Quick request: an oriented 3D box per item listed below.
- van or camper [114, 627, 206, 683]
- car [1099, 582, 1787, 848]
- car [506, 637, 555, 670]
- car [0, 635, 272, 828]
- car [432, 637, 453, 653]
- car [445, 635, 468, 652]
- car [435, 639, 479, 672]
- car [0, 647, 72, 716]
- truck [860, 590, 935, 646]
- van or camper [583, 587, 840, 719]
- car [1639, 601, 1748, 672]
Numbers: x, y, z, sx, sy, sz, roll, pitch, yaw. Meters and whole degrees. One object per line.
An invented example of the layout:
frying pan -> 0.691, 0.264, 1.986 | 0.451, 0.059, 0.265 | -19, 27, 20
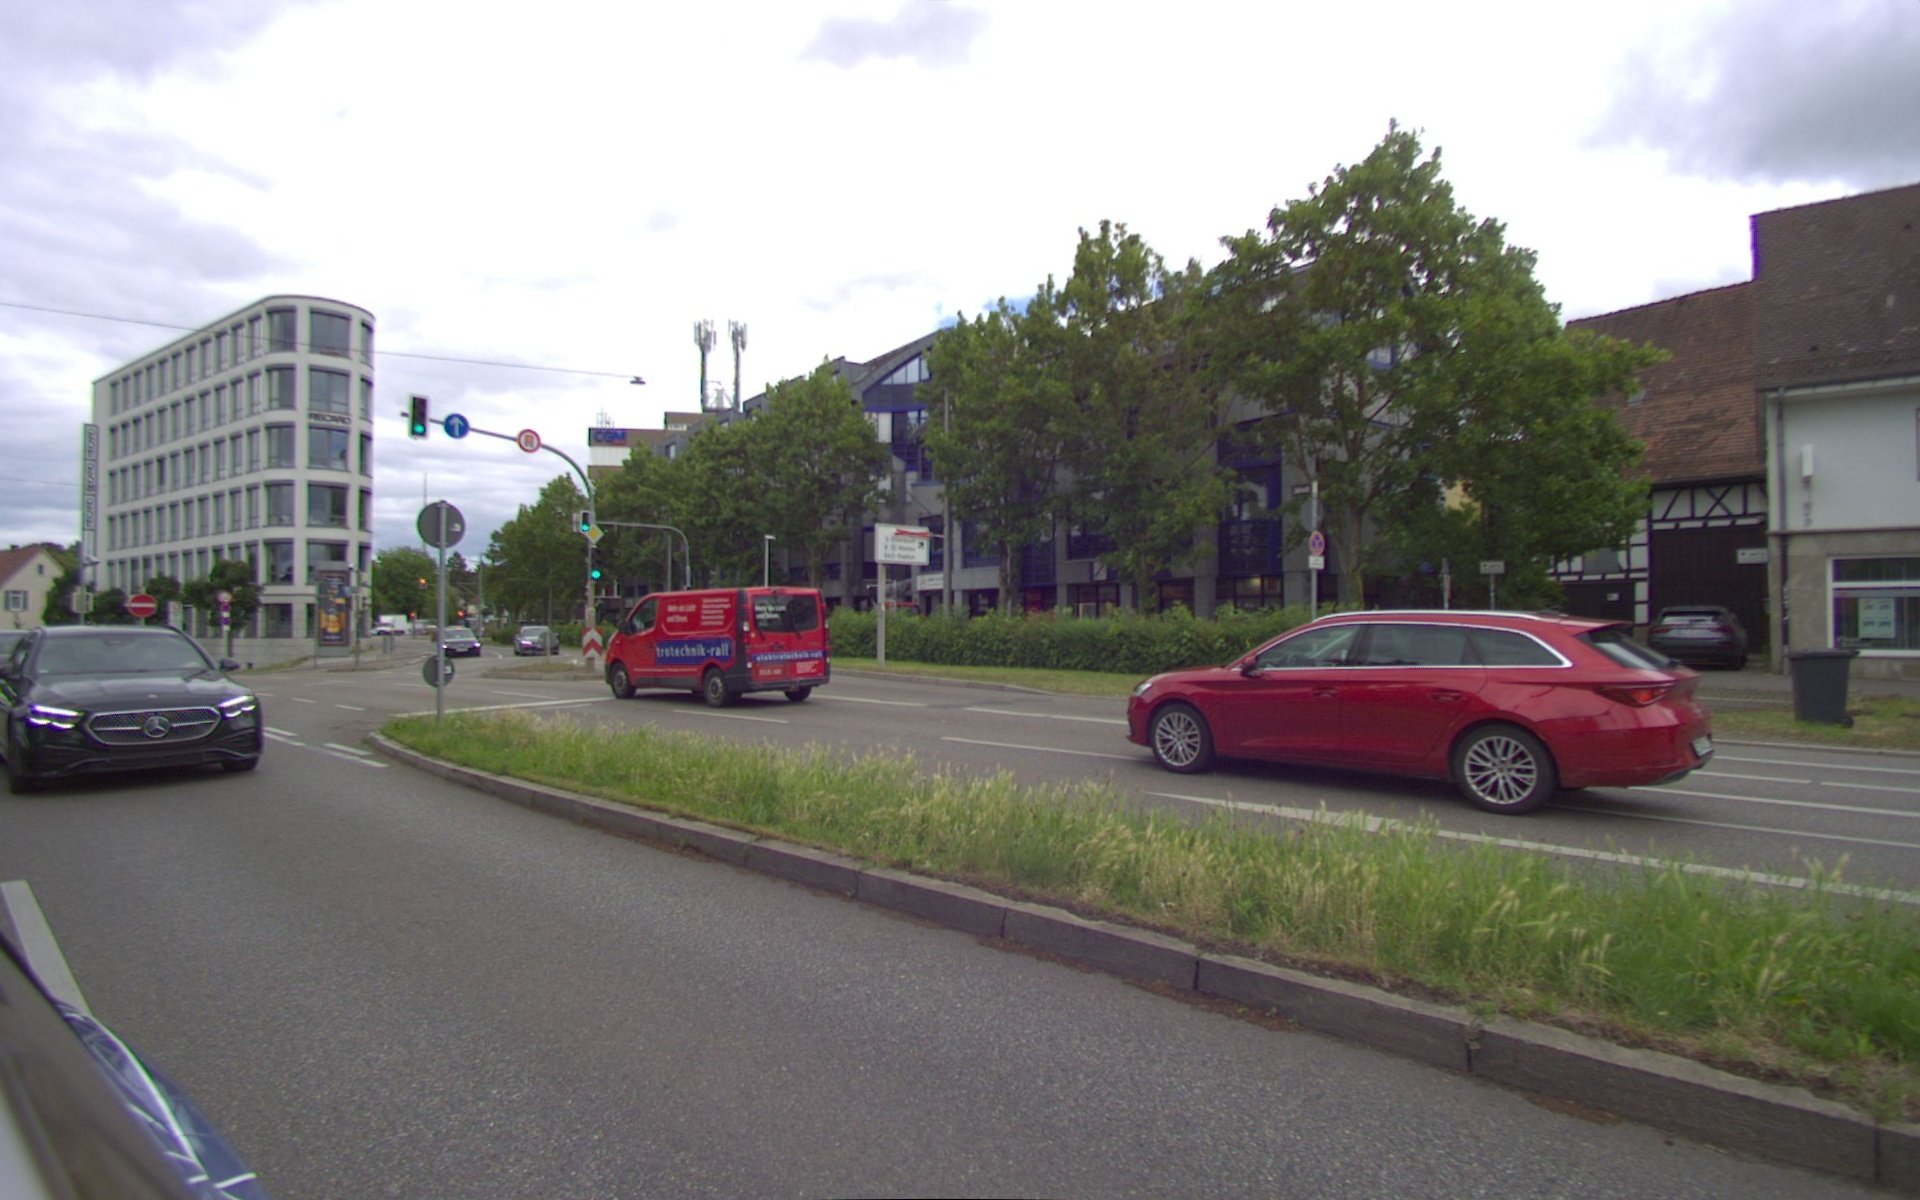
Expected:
van or camper -> -30.815, 2.084, 38.918 | 5.247, 1.952, 1.906 | -3, -1, 42
car -> 3.711, 0.772, 8.529 | 1.970, 1.602, 4.837 | 1, -2, -44
car -> -21.503, 2.671, 50.618 | 1.751, 1.474, 4.454 | -3, -1, -29
car -> -8.828, 1.180, 10.490 | 4.334, 1.541, 1.853 | -3, -2, 42
car -> -52.078, 4.486, 101.771 | 1.689, 1.474, 4.454 | -3, 0, -29
car -> -47.627, 4.091, 95.658 | 1.689, 1.474, 4.454 | -3, 0, -29
car -> -25.607, 2.788, 51.488 | 1.751, 1.474, 4.454 | -3, 0, -29
car -> -23.187, 2.027, 24.383 | 3.991, 1.542, 1.857 | -6, -4, 36
truck -> -3.080, 0.911, 48.949 | 1.966, 2.405, 4.012 | -3, -3, -28
van or camper -> -4.578, 0.886, 18.058 | 5.197, 2.029, 1.971 | -2, -2, 44
car -> 18.278, 0.862, 25.174 | 1.721, 1.623, 3.645 | -2, -2, 43
